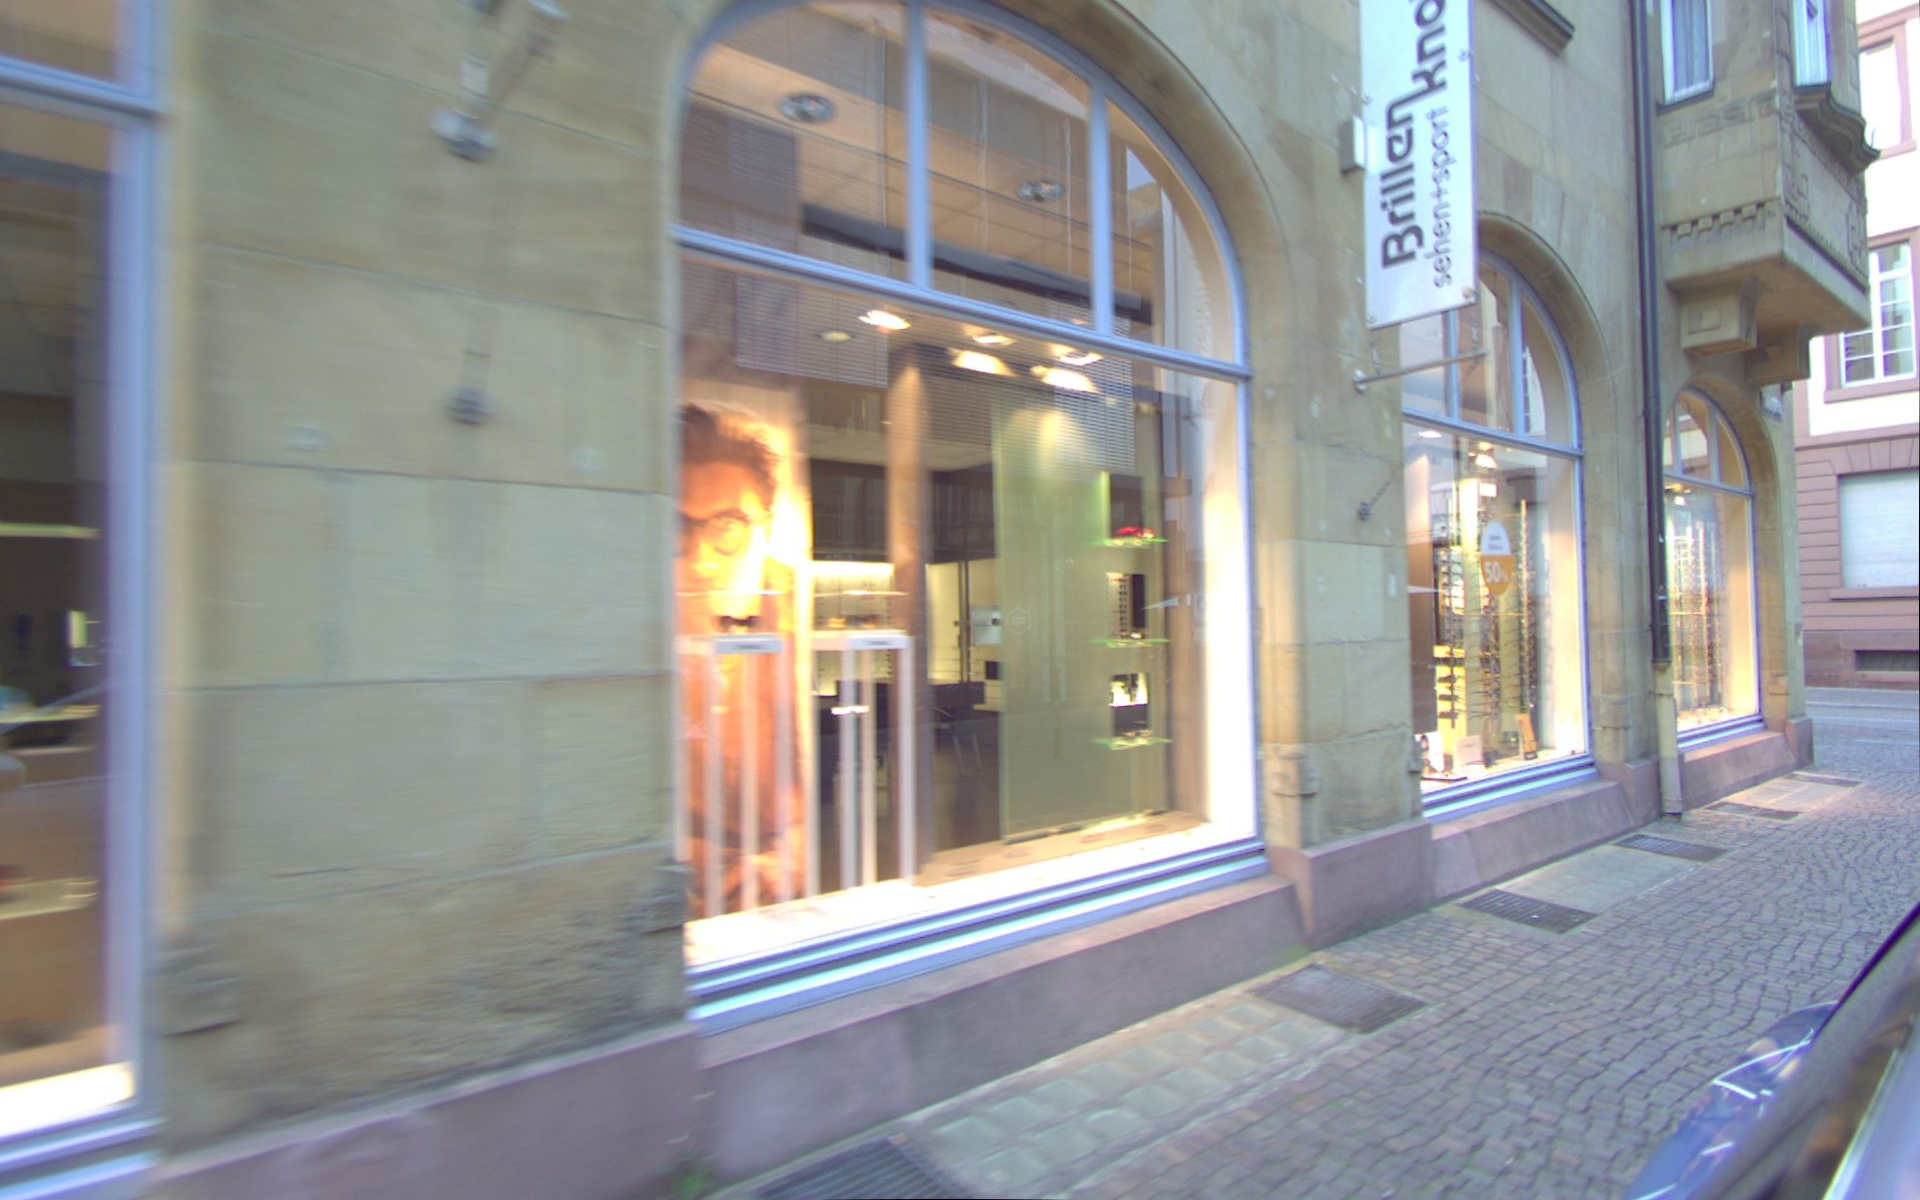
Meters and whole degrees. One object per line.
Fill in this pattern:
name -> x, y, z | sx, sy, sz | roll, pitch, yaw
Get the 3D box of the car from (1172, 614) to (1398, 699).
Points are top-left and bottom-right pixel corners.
car -> 6.204, 1.031, 19.732 | 1.620, 1.461, 3.997 | 0, -1, -36

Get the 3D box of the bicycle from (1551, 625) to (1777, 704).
bicycle -> 12.392, 1.086, 17.966 | 0.907, 1.276, 3.151 | 1, -2, -41
